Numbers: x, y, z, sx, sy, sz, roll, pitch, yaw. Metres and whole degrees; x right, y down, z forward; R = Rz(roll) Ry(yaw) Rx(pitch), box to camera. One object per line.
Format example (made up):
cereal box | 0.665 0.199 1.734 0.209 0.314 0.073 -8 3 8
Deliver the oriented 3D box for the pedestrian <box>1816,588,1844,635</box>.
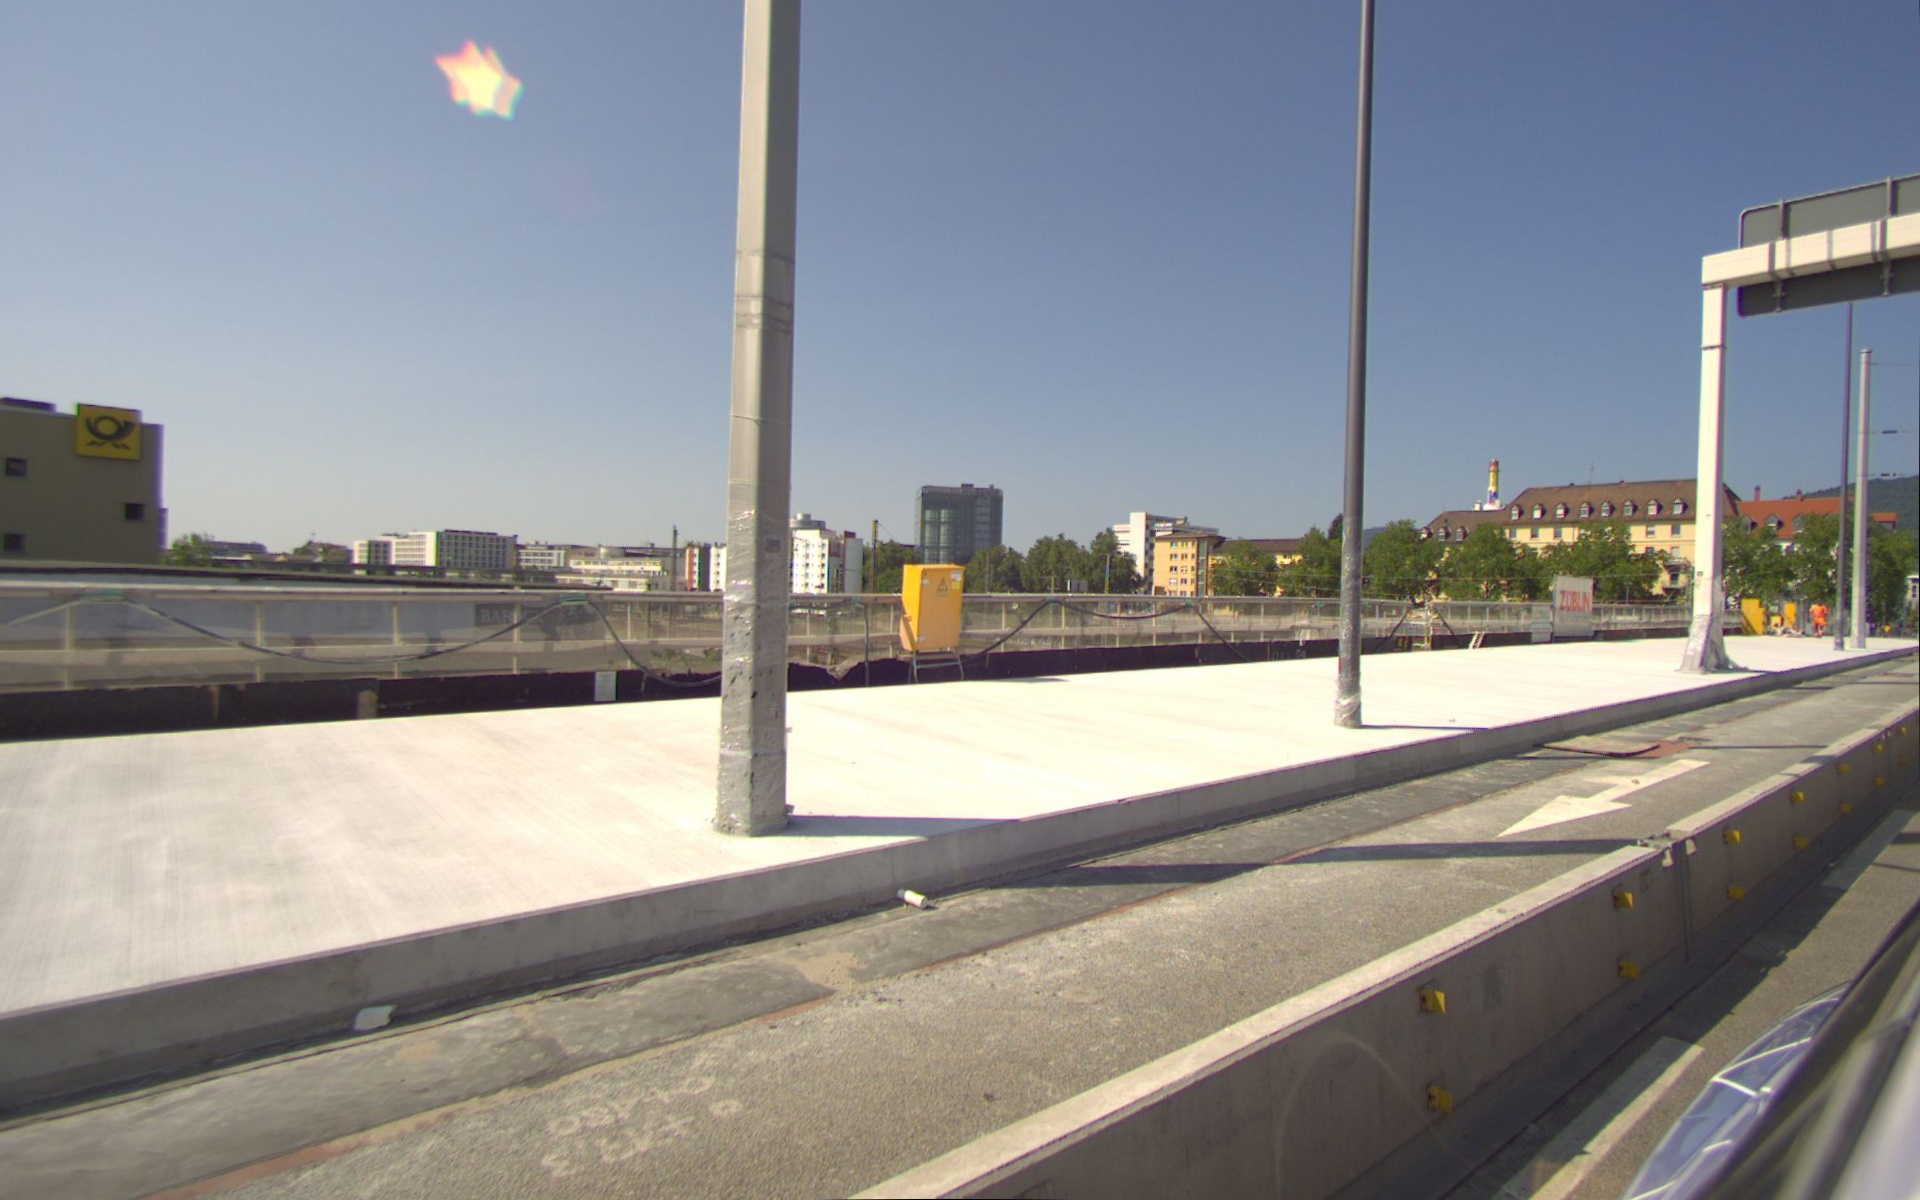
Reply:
pedestrian | 37.975 0.491 44.175 0.999 1.989 0.732 2 1 -43
